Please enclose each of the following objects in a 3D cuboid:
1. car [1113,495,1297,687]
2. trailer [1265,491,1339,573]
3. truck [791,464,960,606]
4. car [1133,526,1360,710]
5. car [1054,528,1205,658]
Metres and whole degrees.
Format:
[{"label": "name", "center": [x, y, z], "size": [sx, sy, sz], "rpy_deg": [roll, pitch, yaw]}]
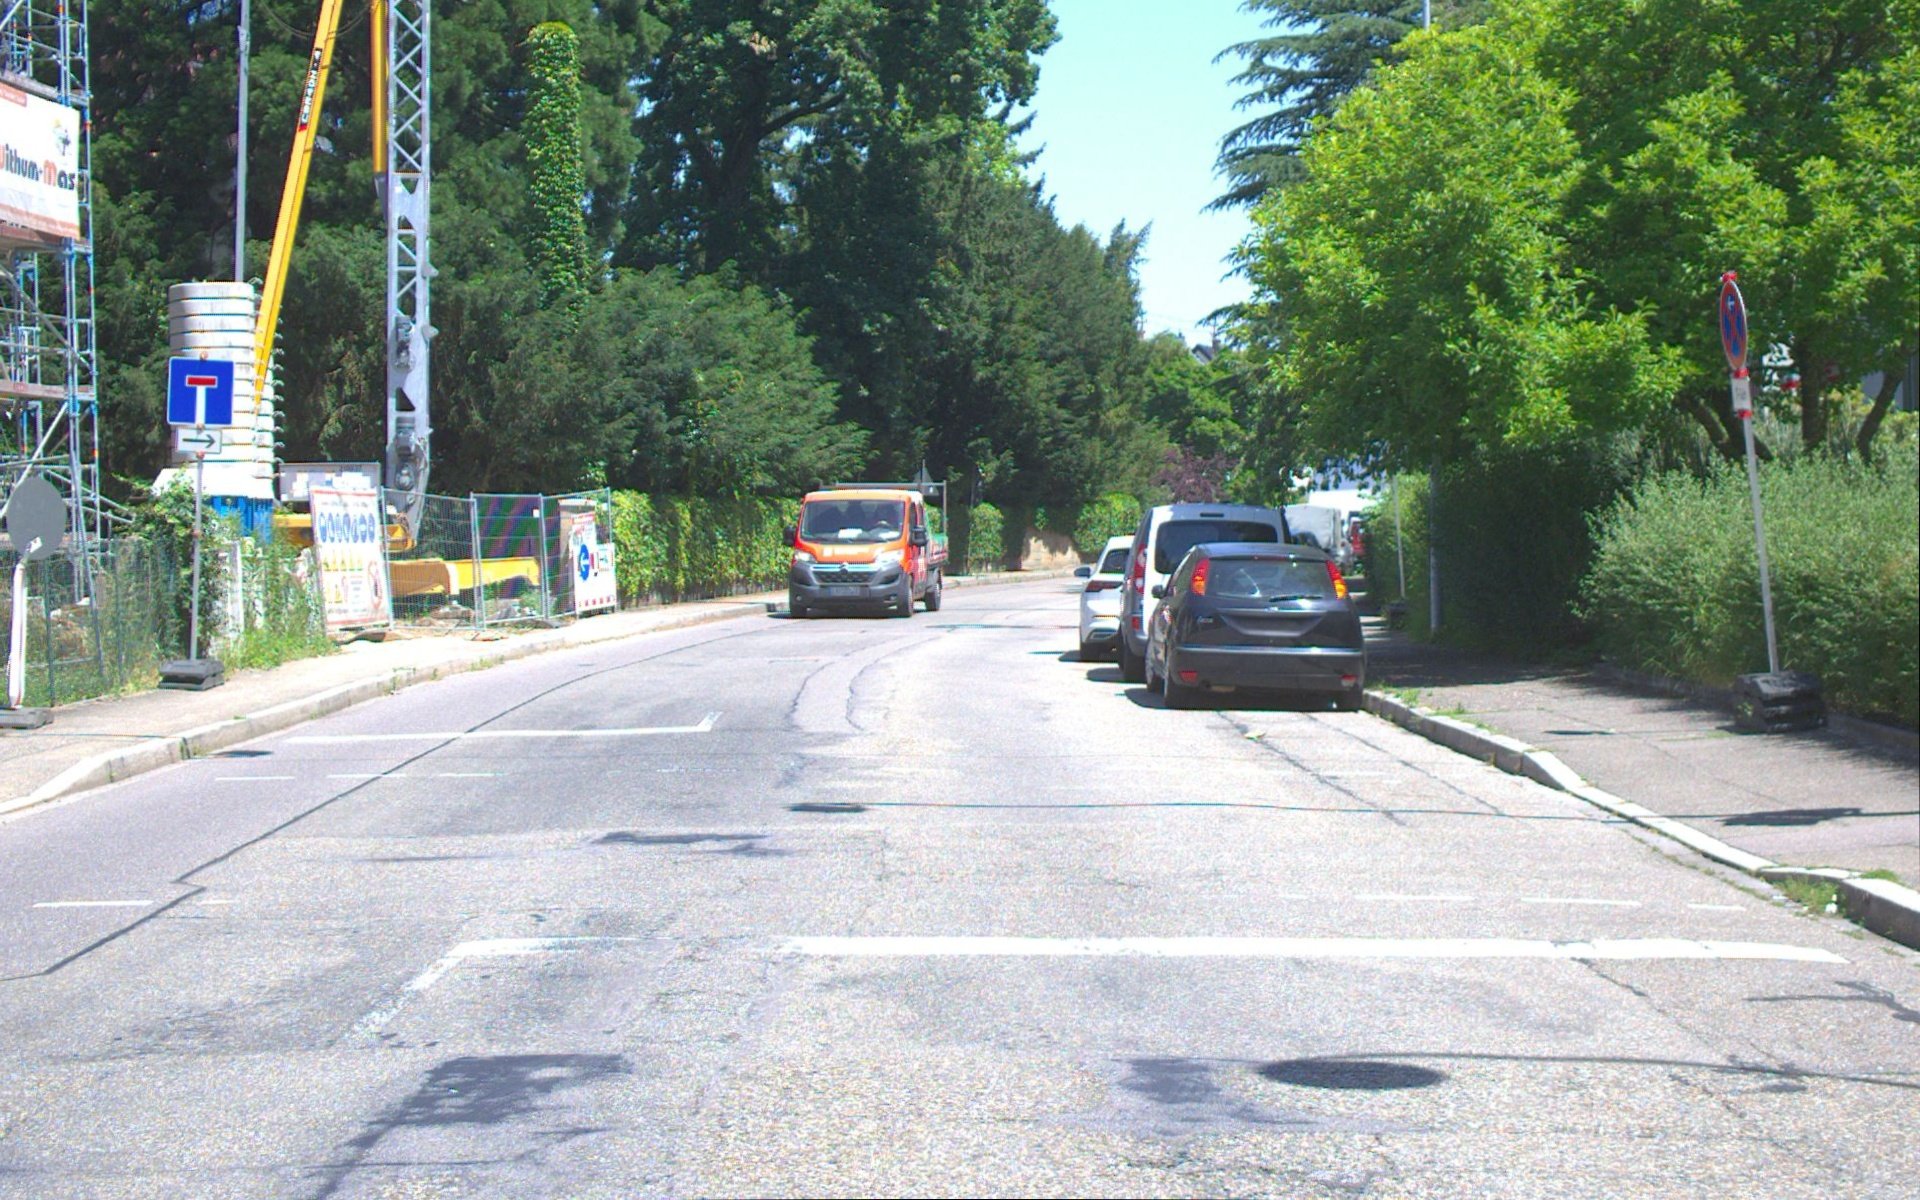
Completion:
[{"label": "car", "center": [2.473, -0.131, 35.453], "size": [1.662, 1.797, 4.203], "rpy_deg": [2, 1, 2]}, {"label": "trailer", "center": [8.964, -1.795, 89.943], "size": [1.680, 2.060, 3.707], "rpy_deg": [2, 2, 9]}, {"label": "truck", "center": [-1.395, -1.158, 59.892], "size": [2.128, 2.331, 6.433], "rpy_deg": [0, 2, 6]}, {"label": "car", "center": [2.489, 0.108, 30.665], "size": [1.628, 1.458, 4.016], "rpy_deg": [2, 1, 0]}, {"label": "car", "center": [2.057, -0.118, 40.877], "size": [1.662, 1.430, 4.128], "rpy_deg": [1, 1, 4]}]
